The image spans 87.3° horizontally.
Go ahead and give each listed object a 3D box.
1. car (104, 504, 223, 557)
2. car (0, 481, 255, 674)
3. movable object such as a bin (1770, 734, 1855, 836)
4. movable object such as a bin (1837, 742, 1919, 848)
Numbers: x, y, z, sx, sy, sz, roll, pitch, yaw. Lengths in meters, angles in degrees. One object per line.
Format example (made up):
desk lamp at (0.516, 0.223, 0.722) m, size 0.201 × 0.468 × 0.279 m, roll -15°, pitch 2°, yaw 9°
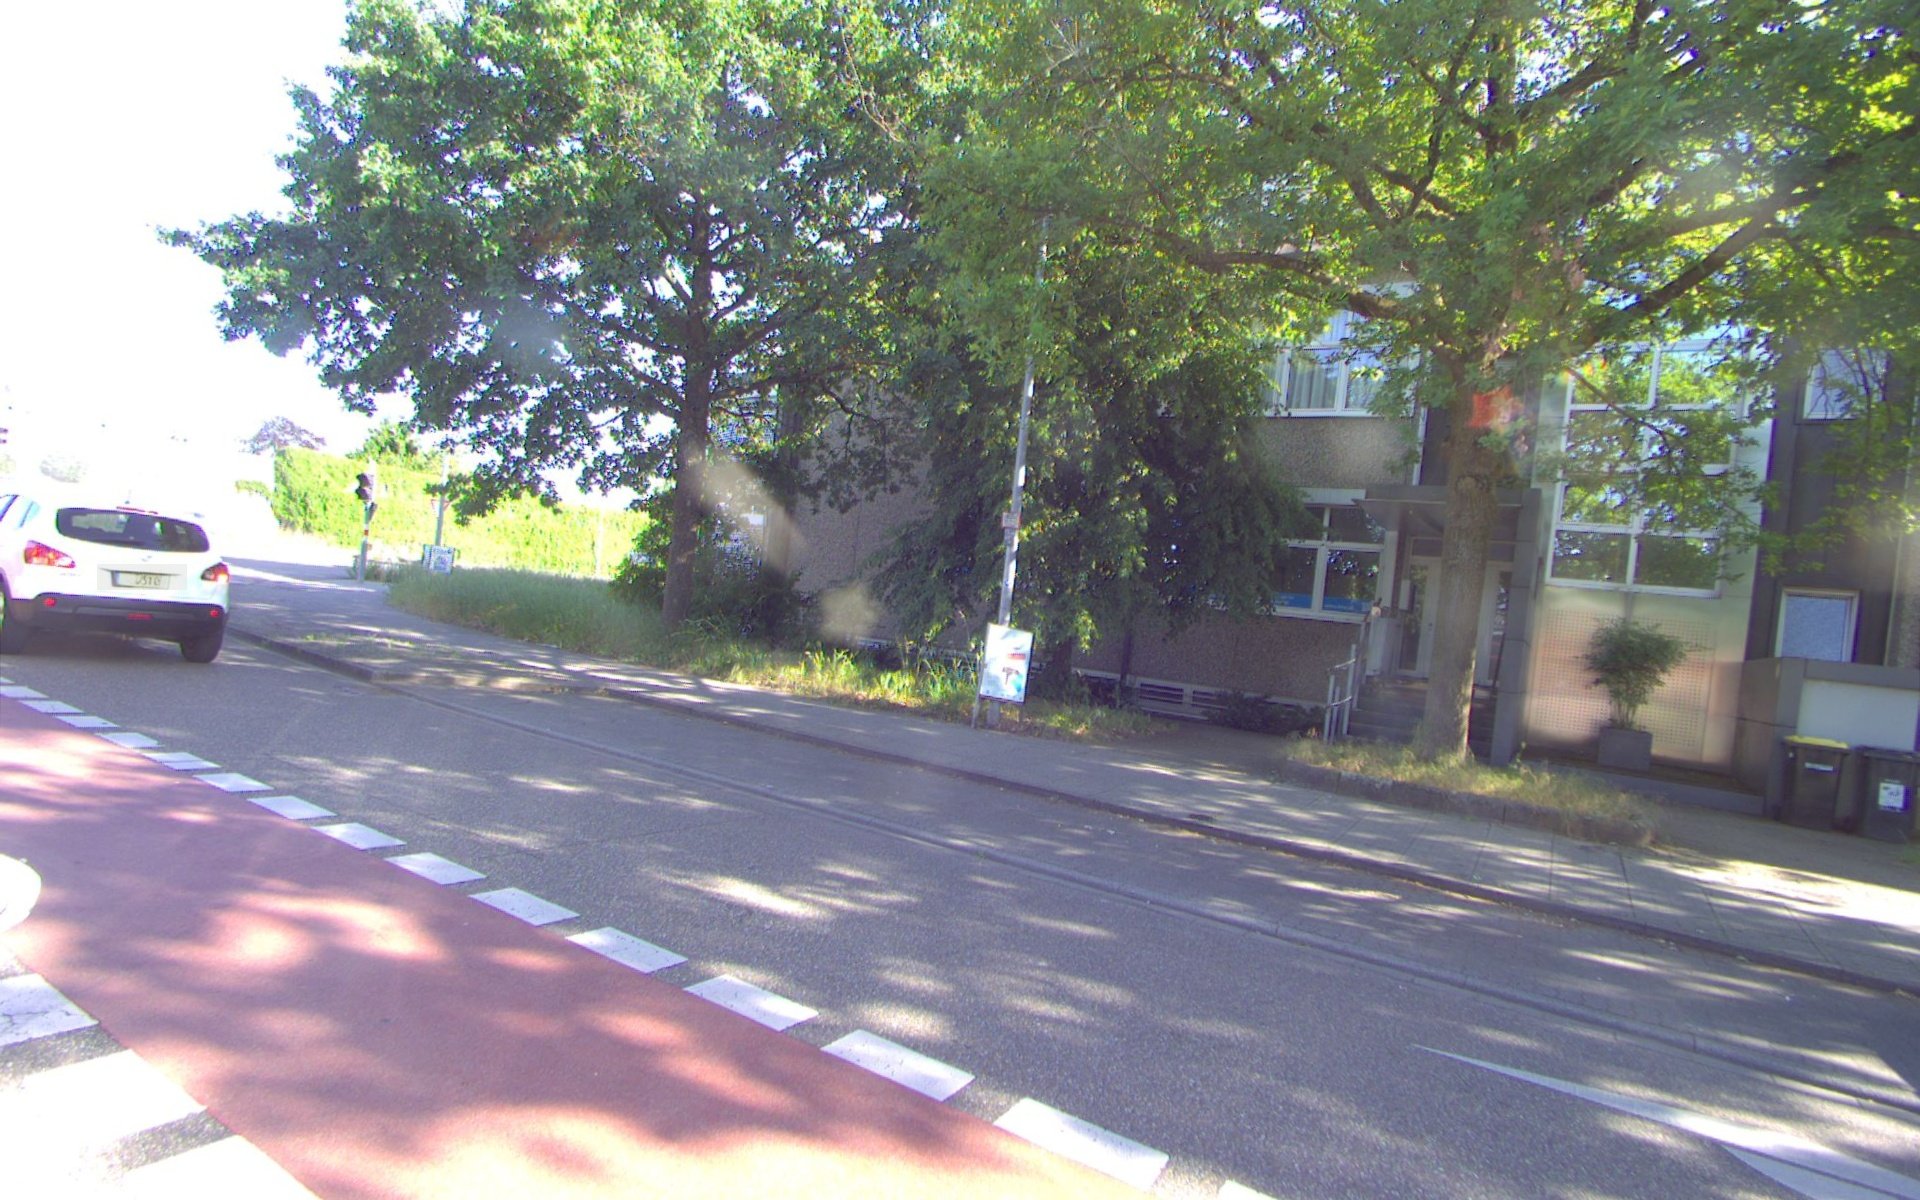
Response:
car at (-38.883, -3.366, 49.198) m, size 1.891 × 1.836 × 3.996 m, roll 6°, pitch -2°, yaw 31°
car at (-9.457, -0.321, 10.780) m, size 4.003 × 1.626 × 1.719 m, roll 7°, pitch -1°, yaw 35°
movable object such as a bin at (10.167, 2.186, 12.020) m, size 0.575 × 1.070 × 0.625 m, roll 7°, pitch 0°, yaw 30°
movable object such as a bin at (10.756, 2.254, 11.727) m, size 0.605 × 1.075 × 0.634 m, roll 6°, pitch 0°, yaw 30°
